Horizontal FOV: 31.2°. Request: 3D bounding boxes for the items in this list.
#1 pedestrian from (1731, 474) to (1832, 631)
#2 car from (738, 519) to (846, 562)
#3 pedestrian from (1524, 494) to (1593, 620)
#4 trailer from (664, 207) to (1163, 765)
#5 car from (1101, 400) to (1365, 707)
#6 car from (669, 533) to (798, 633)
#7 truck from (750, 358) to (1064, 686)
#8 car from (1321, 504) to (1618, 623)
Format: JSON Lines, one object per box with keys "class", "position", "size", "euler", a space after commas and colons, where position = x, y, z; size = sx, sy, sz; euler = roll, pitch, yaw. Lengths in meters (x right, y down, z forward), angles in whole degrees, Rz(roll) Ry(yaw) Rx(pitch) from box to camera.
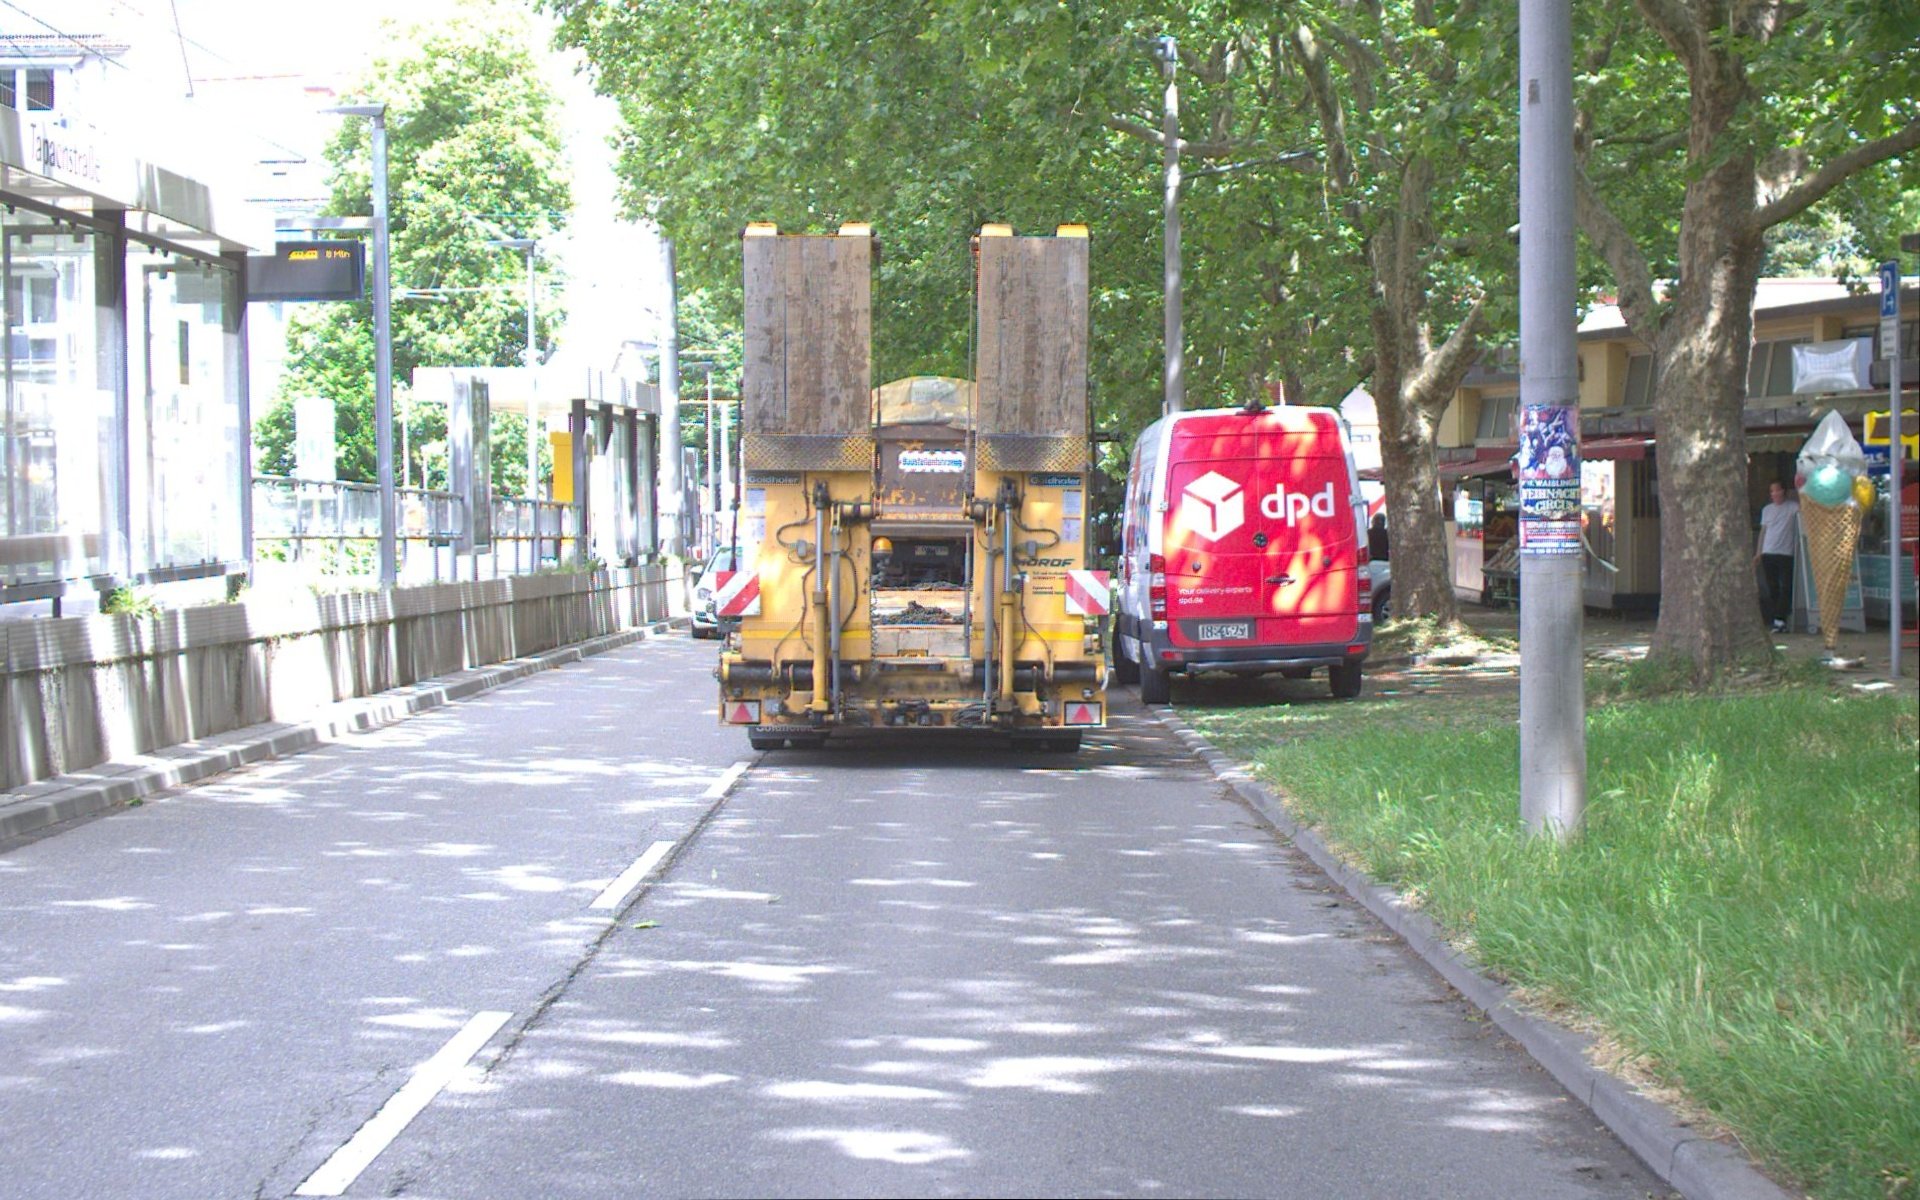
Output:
{"class": "pedestrian", "position": [9.604, -0.551, 40.194], "size": [0.925, 1.795, 0.604], "euler": [-1, 0, 44]}
{"class": "car", "position": [-8.389, -2.969, 171.763], "size": [5.088, 2.095, 1.977], "euler": [1, 1, -14]}
{"class": "pedestrian", "position": [8.274, -0.599, 47.552], "size": [0.759, 1.719, 0.659], "euler": [-2, 1, -4]}
{"class": "trailer", "position": [-0.422, -0.829, 27.598], "size": [3.154, 3.540, 11.098], "euler": [1, 1, -1]}
{"class": "car", "position": [2.487, -0.454, 32.913], "size": [1.904, 2.572, 6.834], "euler": [-2, 1, 0]}
{"class": "car", "position": [-3.325, -0.276, 51.037], "size": [1.732, 1.391, 3.752], "euler": [1, 1, -2]}
{"class": "truck", "position": [-0.599, -0.824, 37.079], "size": [2.989, 3.124, 7.888], "euler": [1, 1, -1]}
{"class": "car", "position": [7.176, -0.525, 48.568], "size": [3.828, 1.557, 1.620], "euler": [-2, 1, -6]}
